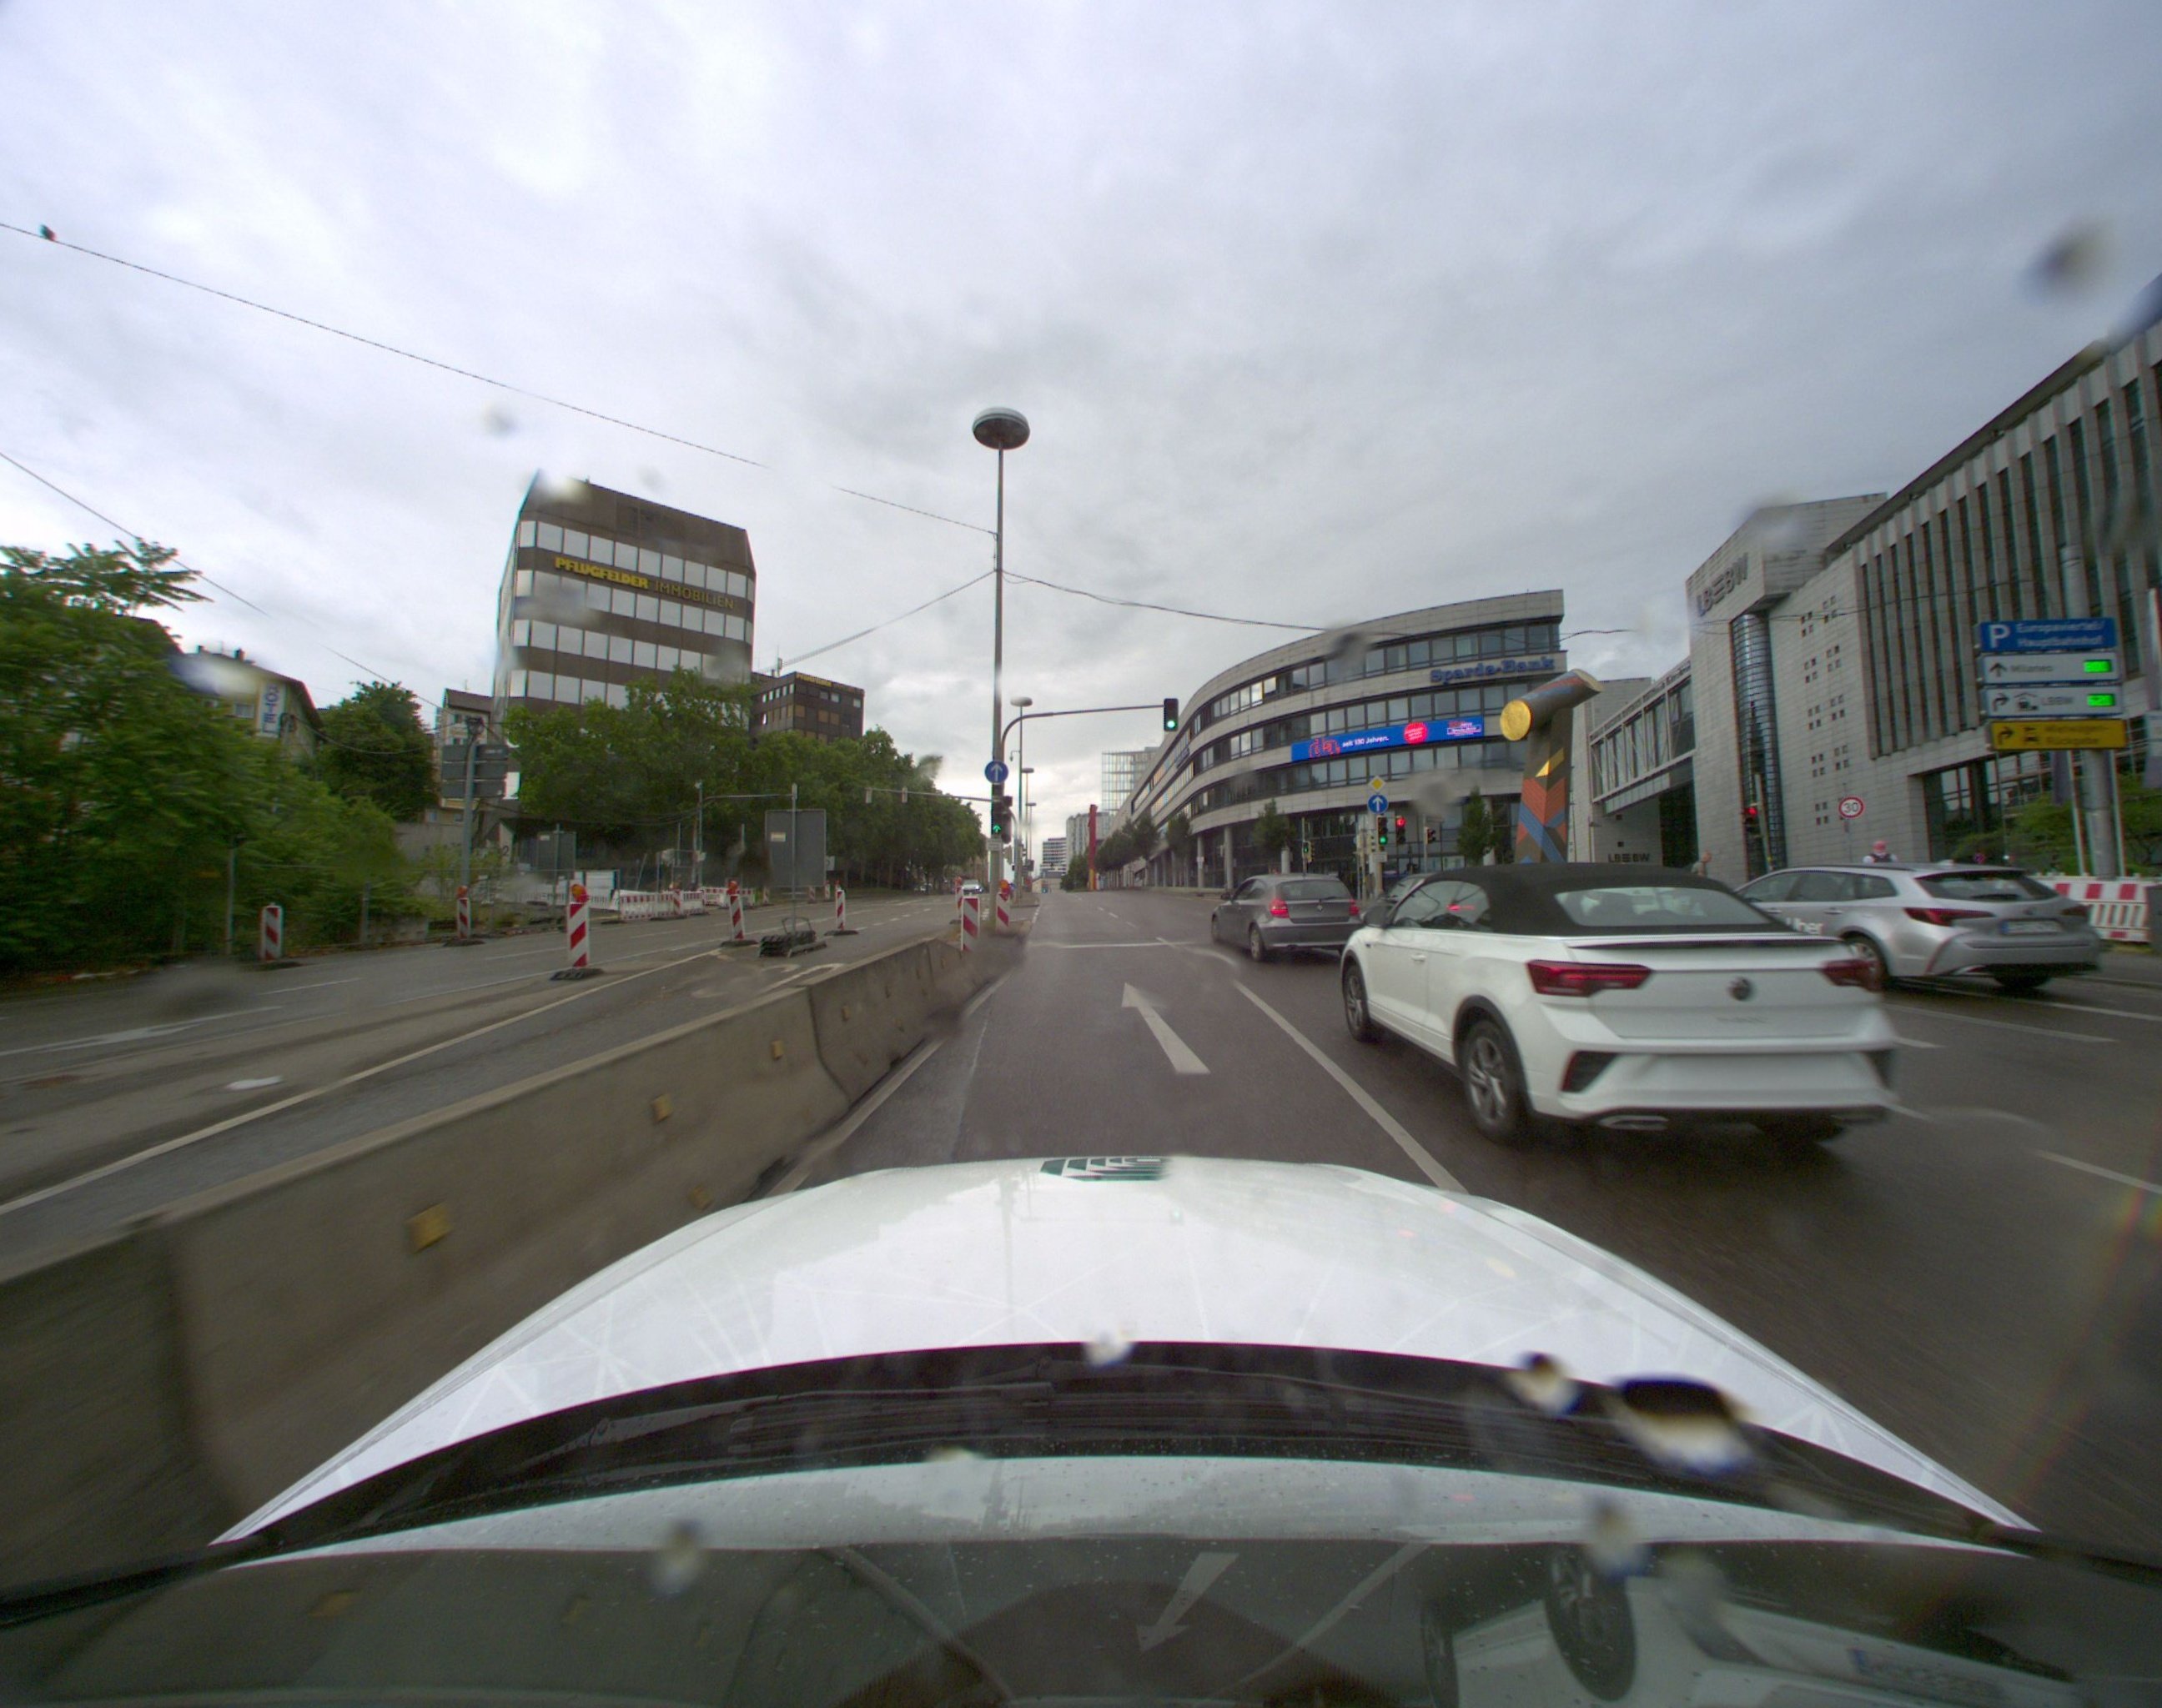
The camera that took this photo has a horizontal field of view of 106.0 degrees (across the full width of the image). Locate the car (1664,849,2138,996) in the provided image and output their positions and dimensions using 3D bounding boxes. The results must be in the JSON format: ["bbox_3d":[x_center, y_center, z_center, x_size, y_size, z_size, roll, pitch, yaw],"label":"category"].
[{"bbox_3d":[9.812,0.777,10.437,1.692,1.451,4.622,0,-2,6],"label":"car"}]

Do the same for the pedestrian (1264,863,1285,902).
[{"bbox_3d":[9.643,1.449,40.550,0.833,1.905,0.866,-2,-4,23],"label":"pedestrian"}]

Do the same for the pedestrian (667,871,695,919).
[{"bbox_3d":[-16.096,1.654,32.784,0.670,1.902,0.775,-1,-4,0],"label":"pedestrian"}]

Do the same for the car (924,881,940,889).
[{"bbox_3d":[-36.227,7.446,197.469,3.624,1.701,1.821,-2,-4,-6],"label":"car"}]

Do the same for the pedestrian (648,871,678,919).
[{"bbox_3d":[-16.835,1.657,32.819,0.758,1.923,0.742,-1,-4,0],"label":"pedestrian"}]

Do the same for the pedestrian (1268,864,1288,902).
[{"bbox_3d":[10.004,1.493,41.385,0.833,1.905,0.736,-2,-3,23],"label":"pedestrian"}]

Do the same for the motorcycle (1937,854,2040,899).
[{"bbox_3d":[25.483,0.619,22.872,2.564,1.081,0.633,-4,-1,-10],"label":"motorcycle"}]

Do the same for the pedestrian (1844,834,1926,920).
[{"bbox_3d":[16.300,0.477,16.535,0.728,1.711,0.842,0,-4,-3],"label":"pedestrian"}]

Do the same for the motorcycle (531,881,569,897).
[{"bbox_3d":[-36.922,2.433,56.667,2.193,1.037,0.559,1,-2,-38],"label":"motorcycle"}]

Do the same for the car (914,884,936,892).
[{"bbox_3d":[-32.615,7.085,170.581,1.801,1.511,4.606,-5,-4,35],"label":"car"}]

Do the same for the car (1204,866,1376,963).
[{"bbox_3d":[3.493,0.975,14.430,1.737,1.443,3.993,0,-2,-5],"label":"car"}]

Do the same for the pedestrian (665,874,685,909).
[{"bbox_3d":[-22.089,2.028,44.326,0.741,1.881,0.744,0,-4,-12],"label":"pedestrian"}]

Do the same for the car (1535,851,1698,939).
[{"bbox_3d":[11.277,0.820,17.526,1.757,1.634,4.601,-1,-2,18],"label":"car"}]

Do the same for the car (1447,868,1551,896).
[{"bbox_3d":[22.793,1.562,44.554,4.671,1.442,1.871,-1,-4,9],"label":"car"}]

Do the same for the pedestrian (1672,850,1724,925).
[{"bbox_3d":[17.716,0.947,23.386,0.856,2.099,0.897,2,-2,-25],"label":"pedestrian"}]

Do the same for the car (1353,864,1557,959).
[{"bbox_3d":[6.344,0.961,14.408,1.748,1.408,4.227,1,-3,1],"label":"car"}]

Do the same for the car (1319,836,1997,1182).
[{"bbox_3d":[3.218,0.757,5.808,1.956,1.549,4.221,-1,-1,3],"label":"car"}]

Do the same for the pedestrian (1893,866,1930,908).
[{"bbox_3d":[36.459,1.468,35.773,0.958,1.818,0.785,-4,-5,38],"label":"pedestrian"}]

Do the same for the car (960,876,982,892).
[{"bbox_3d":[-10.971,3.006,81.631,1.757,1.461,4.354,-2,-1,-3],"label":"car"}]
